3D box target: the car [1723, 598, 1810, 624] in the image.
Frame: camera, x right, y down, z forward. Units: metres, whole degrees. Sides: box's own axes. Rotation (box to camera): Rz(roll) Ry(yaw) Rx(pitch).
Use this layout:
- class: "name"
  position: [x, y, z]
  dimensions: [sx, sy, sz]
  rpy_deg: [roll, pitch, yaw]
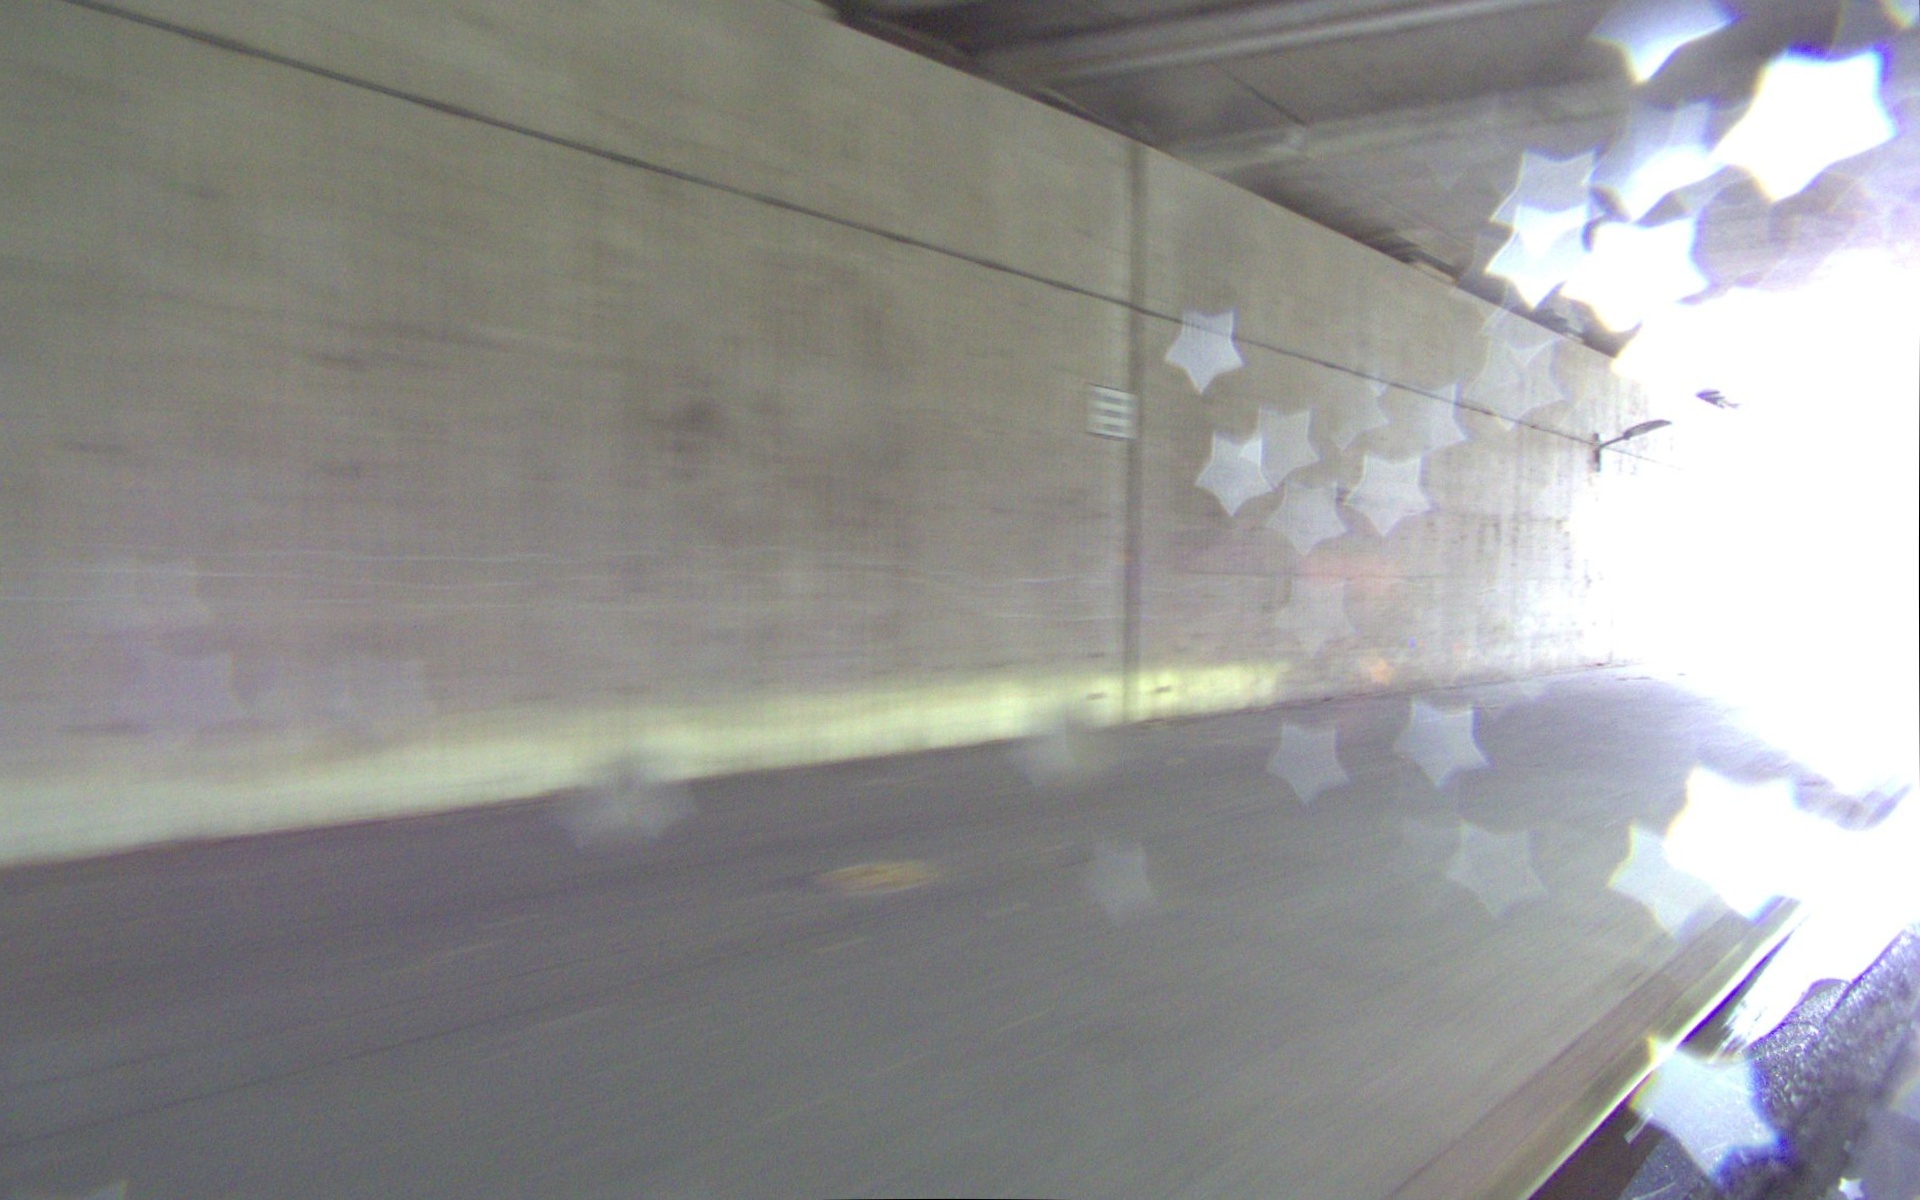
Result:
- class: "car"
  position: [49.737, 0.678, 62.480]
  dimensions: [3.800, 1.551, 1.711]
  rpy_deg: [0, 0, 15]
